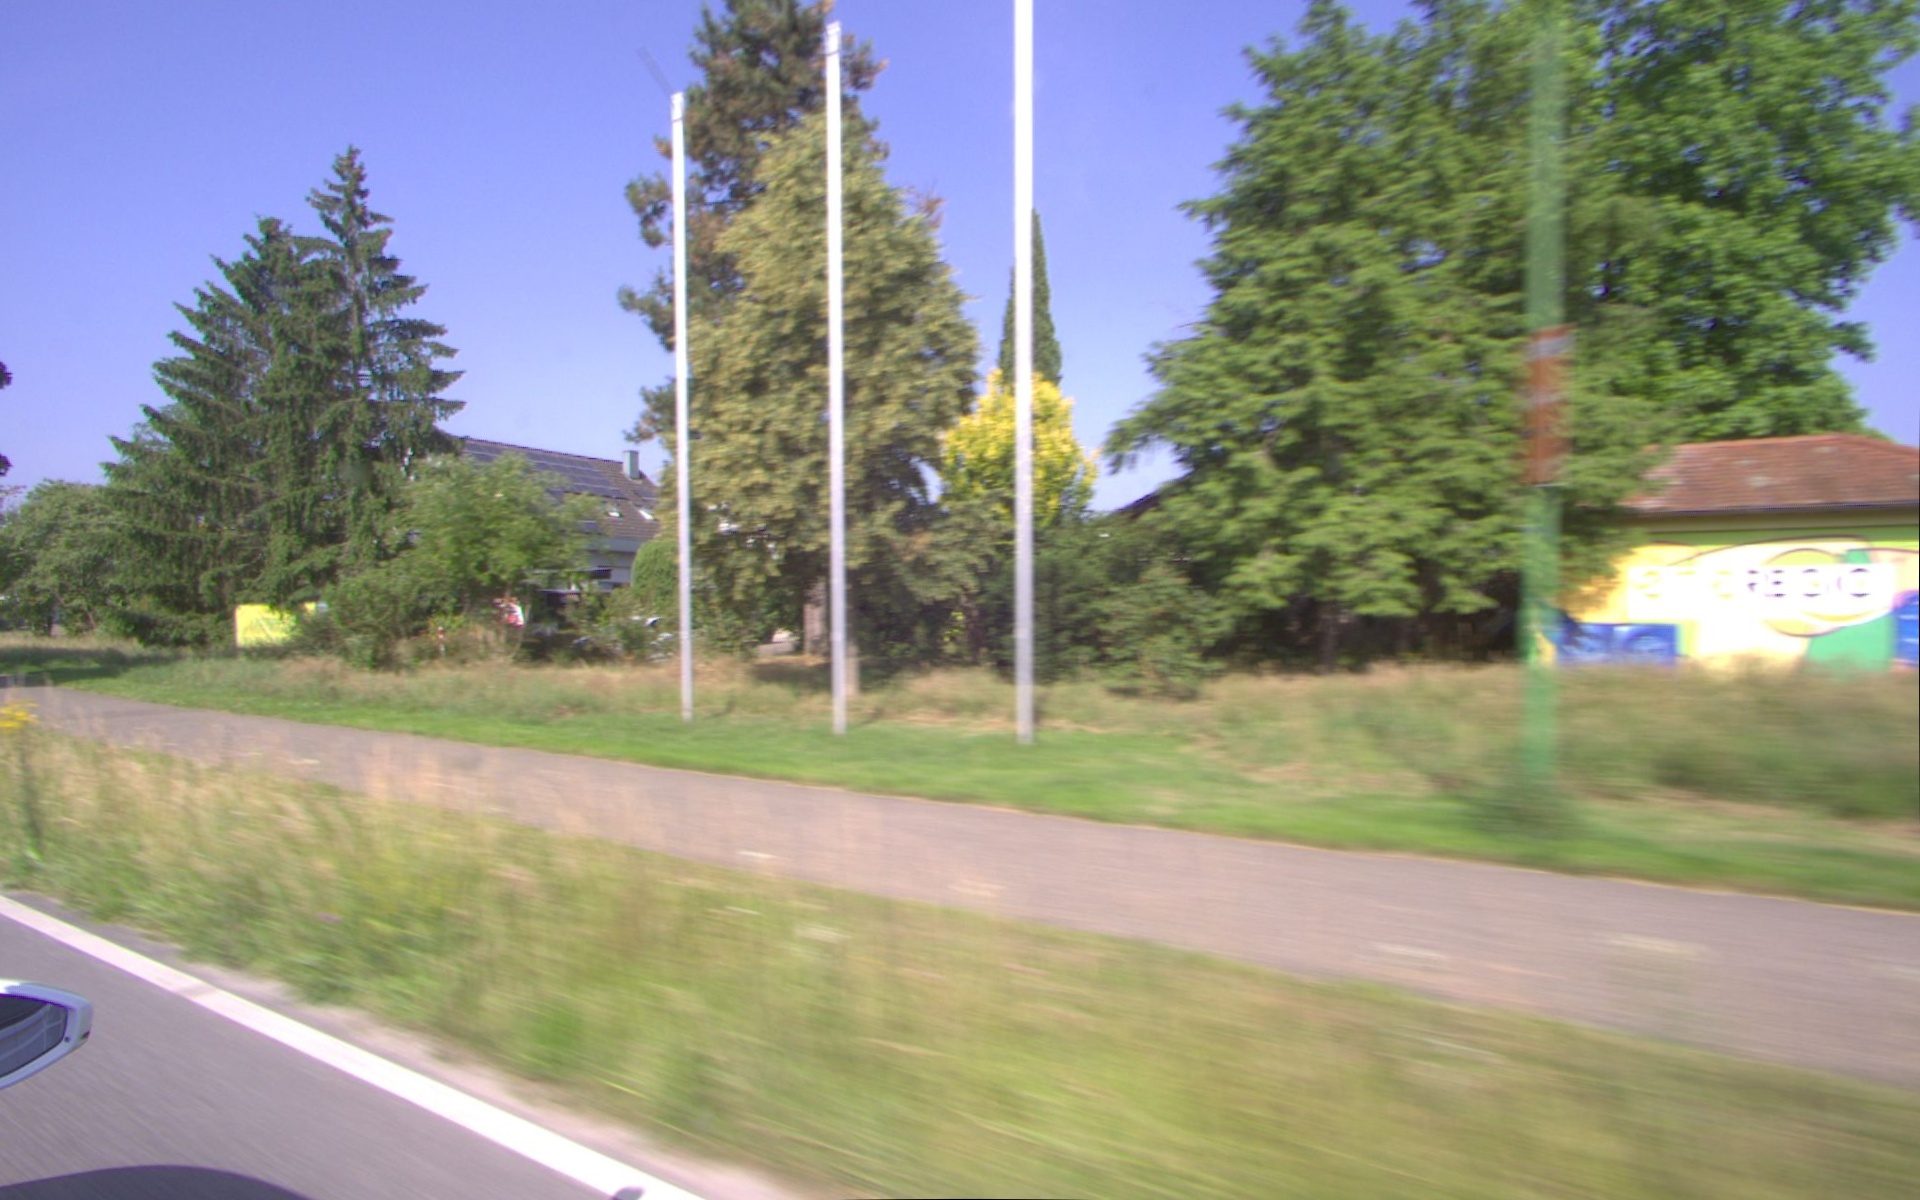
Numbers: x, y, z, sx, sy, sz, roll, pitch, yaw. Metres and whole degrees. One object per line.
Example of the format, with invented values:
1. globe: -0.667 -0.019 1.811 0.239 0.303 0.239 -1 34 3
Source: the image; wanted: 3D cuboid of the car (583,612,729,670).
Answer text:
1. car: -8.519 1.117 28.406 1.785 1.453 3.987 0 0 24
